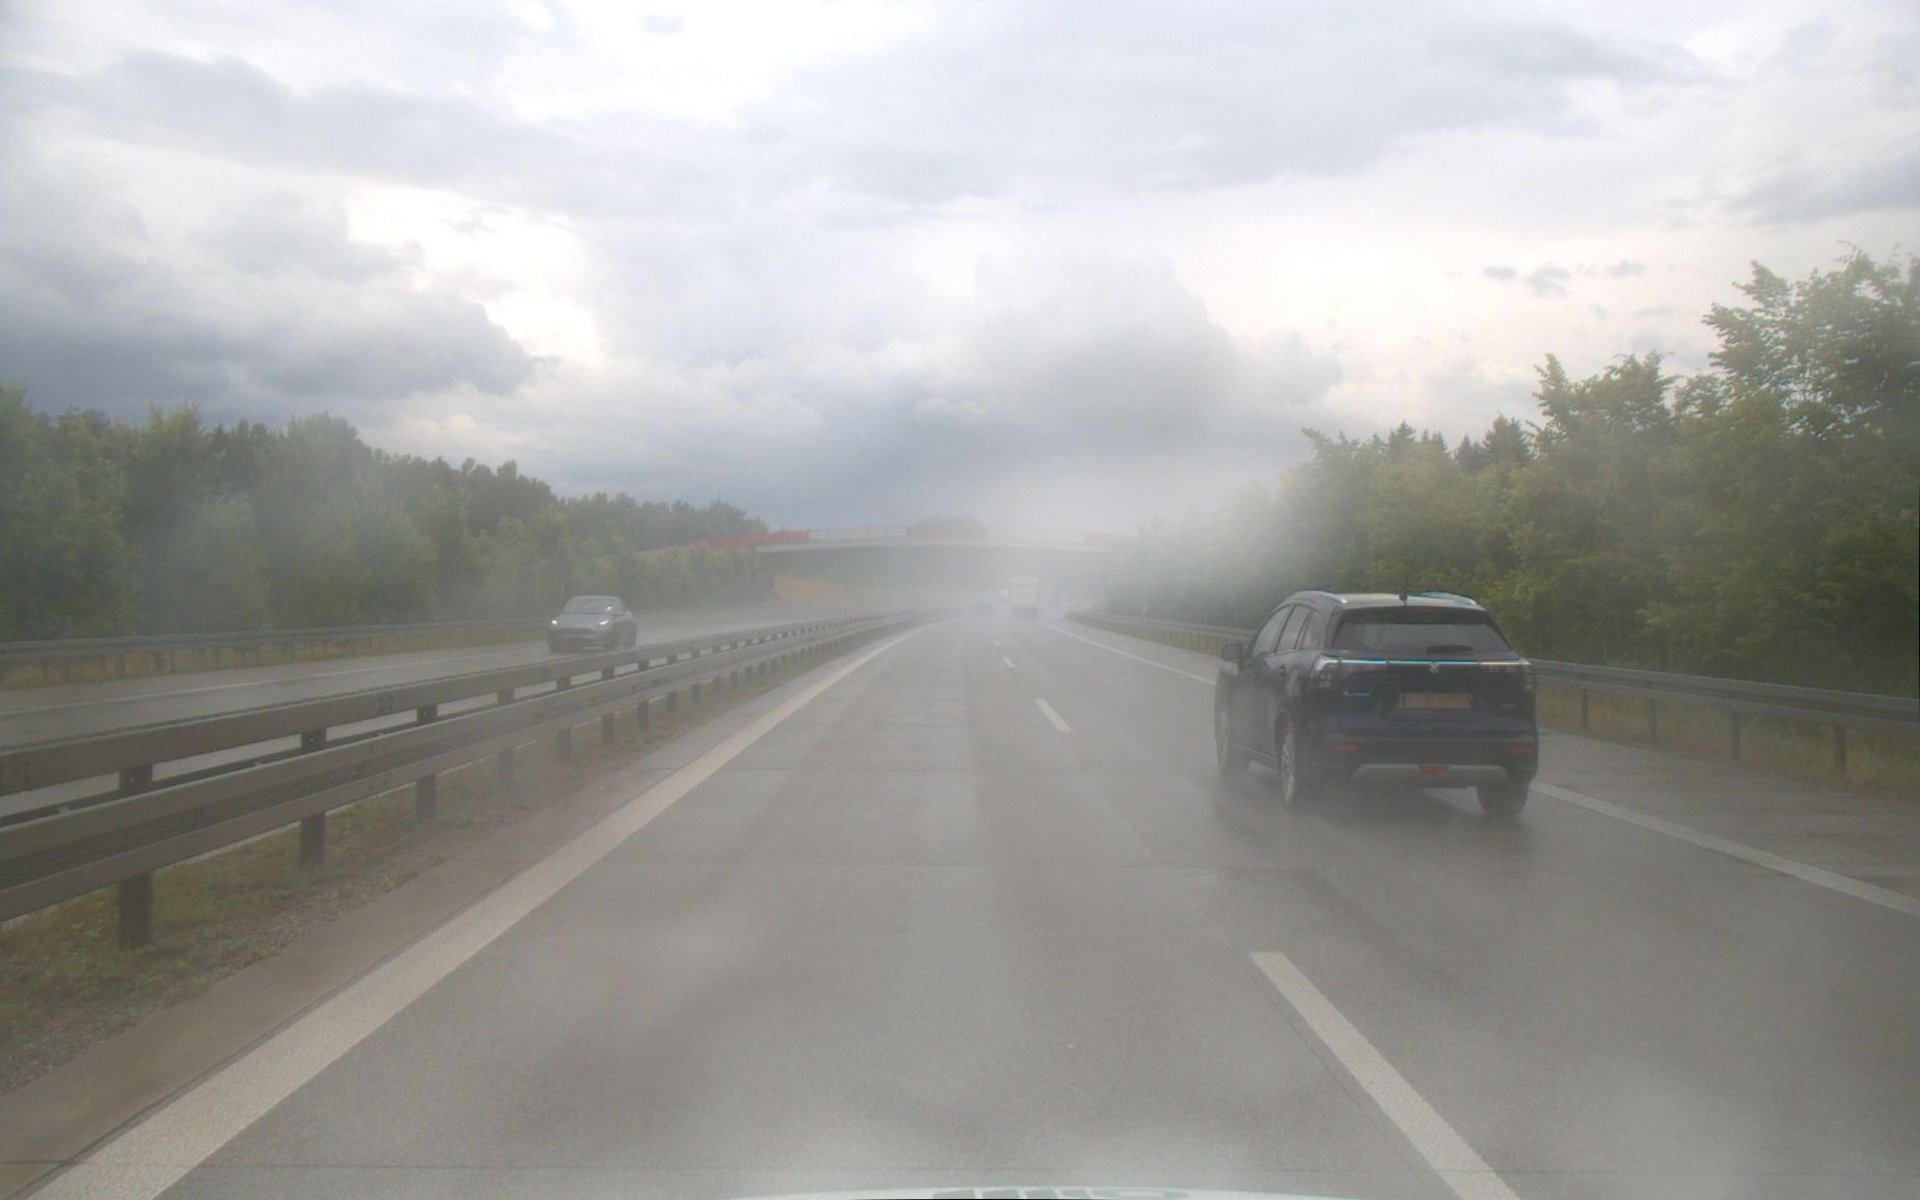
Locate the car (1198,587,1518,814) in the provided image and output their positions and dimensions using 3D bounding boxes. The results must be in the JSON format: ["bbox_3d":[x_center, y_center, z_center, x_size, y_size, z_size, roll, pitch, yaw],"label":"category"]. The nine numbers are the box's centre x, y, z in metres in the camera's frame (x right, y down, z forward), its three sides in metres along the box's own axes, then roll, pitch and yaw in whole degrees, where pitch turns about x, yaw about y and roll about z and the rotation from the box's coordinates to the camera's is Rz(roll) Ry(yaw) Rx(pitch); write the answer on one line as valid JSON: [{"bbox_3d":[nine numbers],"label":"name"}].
[{"bbox_3d":[3.114,0.720,13.690,1.855,1.603,3.632,1,0,2],"label":"car"}]

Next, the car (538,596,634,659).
[{"bbox_3d":[-11.045,0.776,49.121,1.953,1.610,4.000,-2,2,-1],"label":"car"}]

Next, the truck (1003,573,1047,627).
[{"bbox_3d":[5.719,-0.014,143.939,3.174,4.514,8.252,0,0,7],"label":"truck"}]
